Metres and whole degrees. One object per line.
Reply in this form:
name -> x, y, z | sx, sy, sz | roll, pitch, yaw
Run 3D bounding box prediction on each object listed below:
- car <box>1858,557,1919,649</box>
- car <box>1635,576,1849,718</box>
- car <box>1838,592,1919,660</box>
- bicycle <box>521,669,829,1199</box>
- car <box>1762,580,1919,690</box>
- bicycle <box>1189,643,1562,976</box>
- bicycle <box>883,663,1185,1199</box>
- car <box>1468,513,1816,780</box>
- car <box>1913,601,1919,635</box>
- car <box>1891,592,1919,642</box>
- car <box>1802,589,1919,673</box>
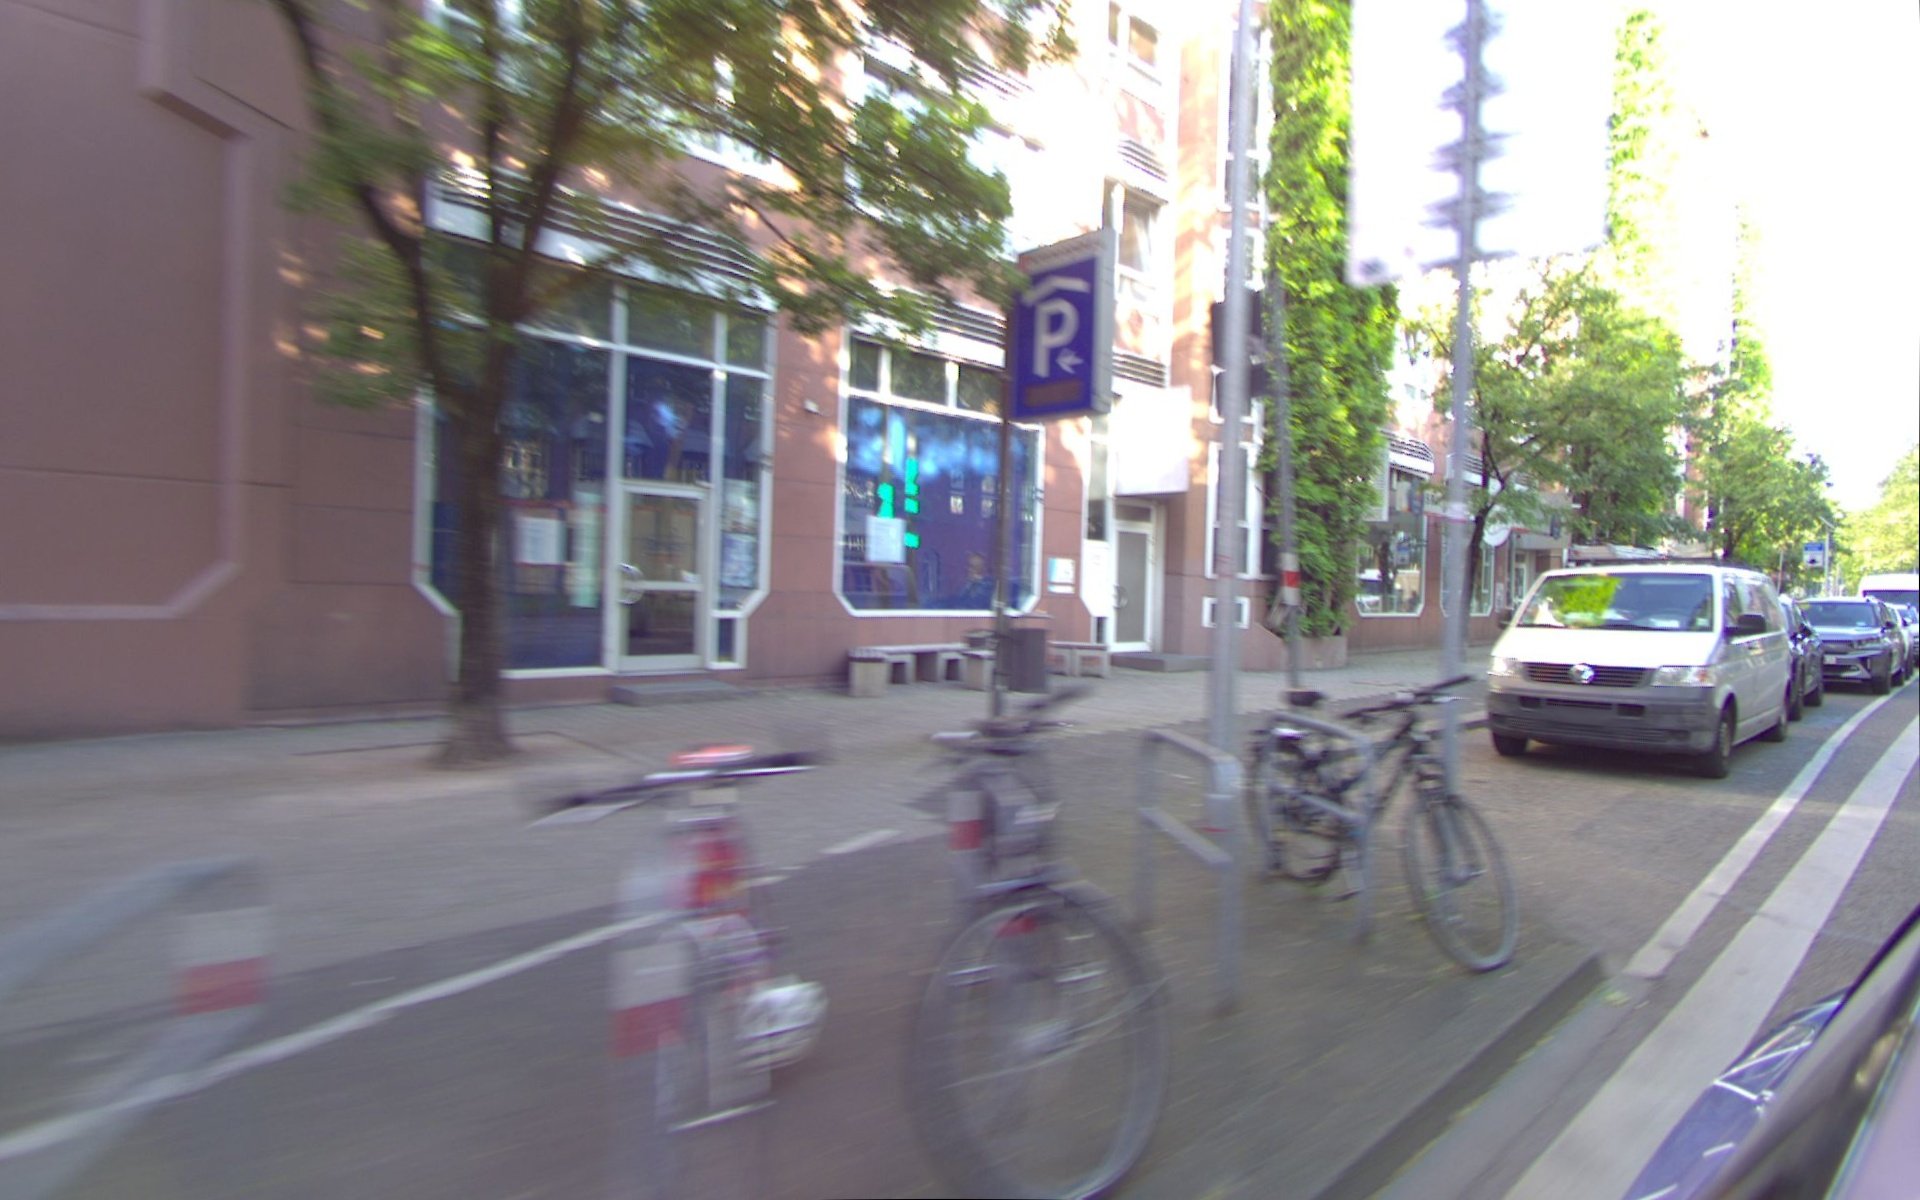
car -> 29.088, 0.088, 30.772 | 5.806, 2.597, 2.117 | 1, 1, -43
car -> 11.191, 0.568, 14.375 | 4.130, 1.691, 1.789 | 1, 2, -44
car -> 24.174, 0.631, 26.195 | 3.934, 1.598, 1.830 | 1, 2, -44
bicycle -> -0.612, 0.790, 2.543 | 0.490, 1.081, 1.686 | 1, 1, -9
car -> 15.879, 0.549, 18.122 | 4.366, 1.691, 1.789 | 1, 2, -44
bicycle -> 1.706, 0.782, 4.474 | 0.500, 1.081, 1.687 | 1, 1, -20
bicycle -> 0.097, 0.798, 2.972 | 0.490, 1.081, 1.686 | 1, 1, -9
car -> 7.227, 0.347, 10.453 | 5.084, 2.104, 1.920 | 1, 2, -44
car -> 40.648, 0.762, 41.816 | 1.804, 1.347, 3.929 | 3, 2, 43
car -> 33.821, 0.611, 35.215 | 4.401, 1.647, 1.805 | 0, 2, -44
car -> 19.663, 0.614, 21.866 | 3.934, 1.598, 1.830 | 1, 2, -44
